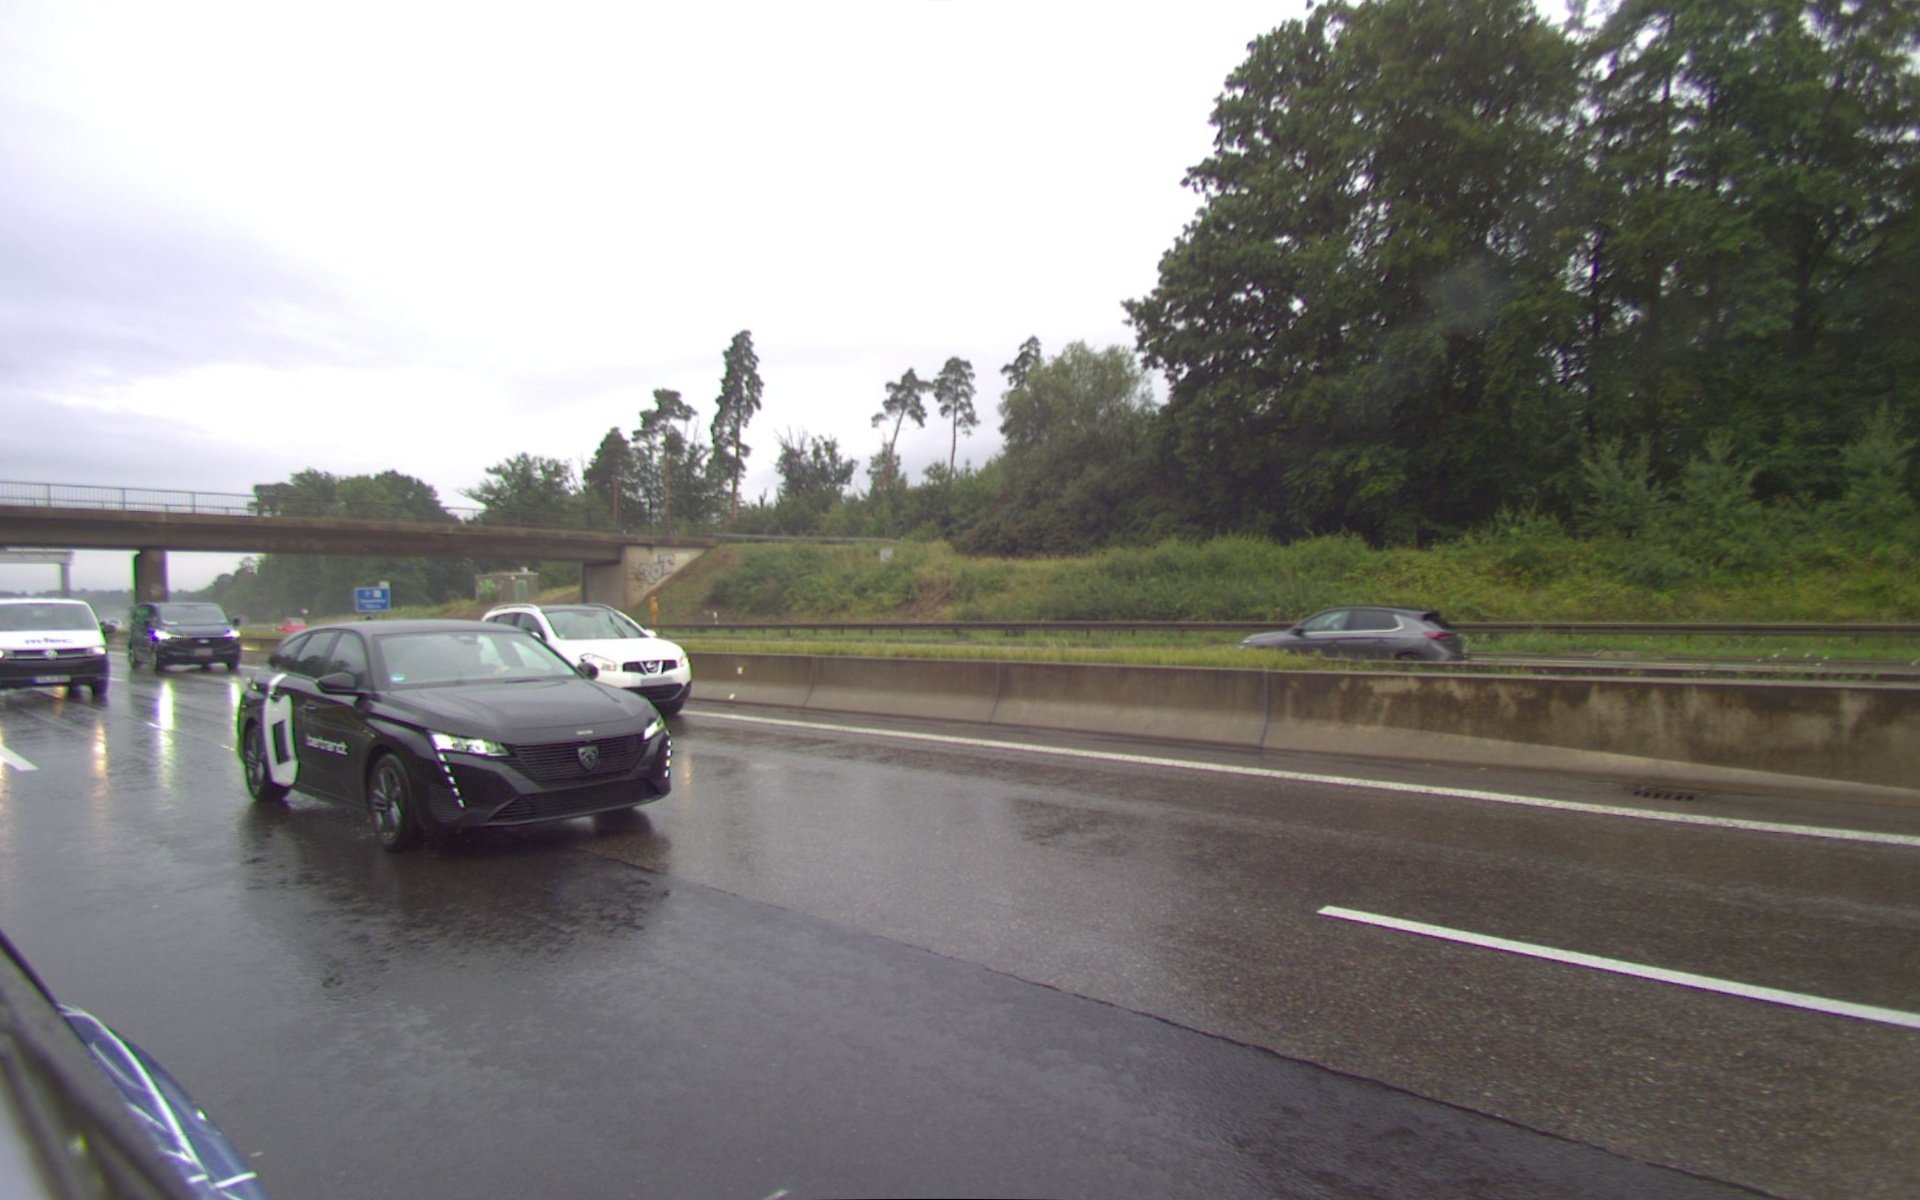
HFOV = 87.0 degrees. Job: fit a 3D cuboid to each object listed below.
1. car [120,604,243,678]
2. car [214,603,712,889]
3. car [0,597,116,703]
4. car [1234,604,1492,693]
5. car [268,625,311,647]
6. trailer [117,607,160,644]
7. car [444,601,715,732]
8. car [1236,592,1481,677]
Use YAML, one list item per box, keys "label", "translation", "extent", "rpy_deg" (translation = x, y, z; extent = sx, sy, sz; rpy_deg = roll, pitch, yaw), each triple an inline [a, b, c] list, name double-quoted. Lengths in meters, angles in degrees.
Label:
- label: "car"
  translation: [-22.902, 1.132, 29.696]
  extent: [5.242, 1.958, 1.970]
  rpy_deg: [-1, 0, 42]
- label: "car"
  translation: [-3.935, 0.826, 7.601]
  extent: [4.465, 1.516, 1.826]
  rpy_deg: [-2, -1, 42]
- label: "car"
  translation: [-18.557, 0.936, 20.194]
  extent: [4.765, 1.894, 1.969]
  rpy_deg: [-2, -1, 42]
- label: "car"
  translation: [7.131, 0.816, 18.093]
  extent: [3.949, 1.401, 1.699]
  rpy_deg: [-2, -1, 40]
- label: "car"
  translation: [-51.865, 2.790, 78.287]
  extent: [3.943, 1.603, 1.826]
  rpy_deg: [-2, -1, 42]
- label: "trailer"
  translation: [-114.878, 3.529, 141.417]
  extent: [13.351, 4.850, 3.169]
  rpy_deg: [-2, -1, 45]
- label: "car"
  translation: [-5.634, 0.870, 14.681]
  extent: [4.465, 1.603, 1.826]
  rpy_deg: [-2, -1, 42]
- label: "car"
  translation: [7.049, 0.589, 18.066]
  extent: [3.674, 1.355, 1.783]
  rpy_deg: [-2, -1, 41]
